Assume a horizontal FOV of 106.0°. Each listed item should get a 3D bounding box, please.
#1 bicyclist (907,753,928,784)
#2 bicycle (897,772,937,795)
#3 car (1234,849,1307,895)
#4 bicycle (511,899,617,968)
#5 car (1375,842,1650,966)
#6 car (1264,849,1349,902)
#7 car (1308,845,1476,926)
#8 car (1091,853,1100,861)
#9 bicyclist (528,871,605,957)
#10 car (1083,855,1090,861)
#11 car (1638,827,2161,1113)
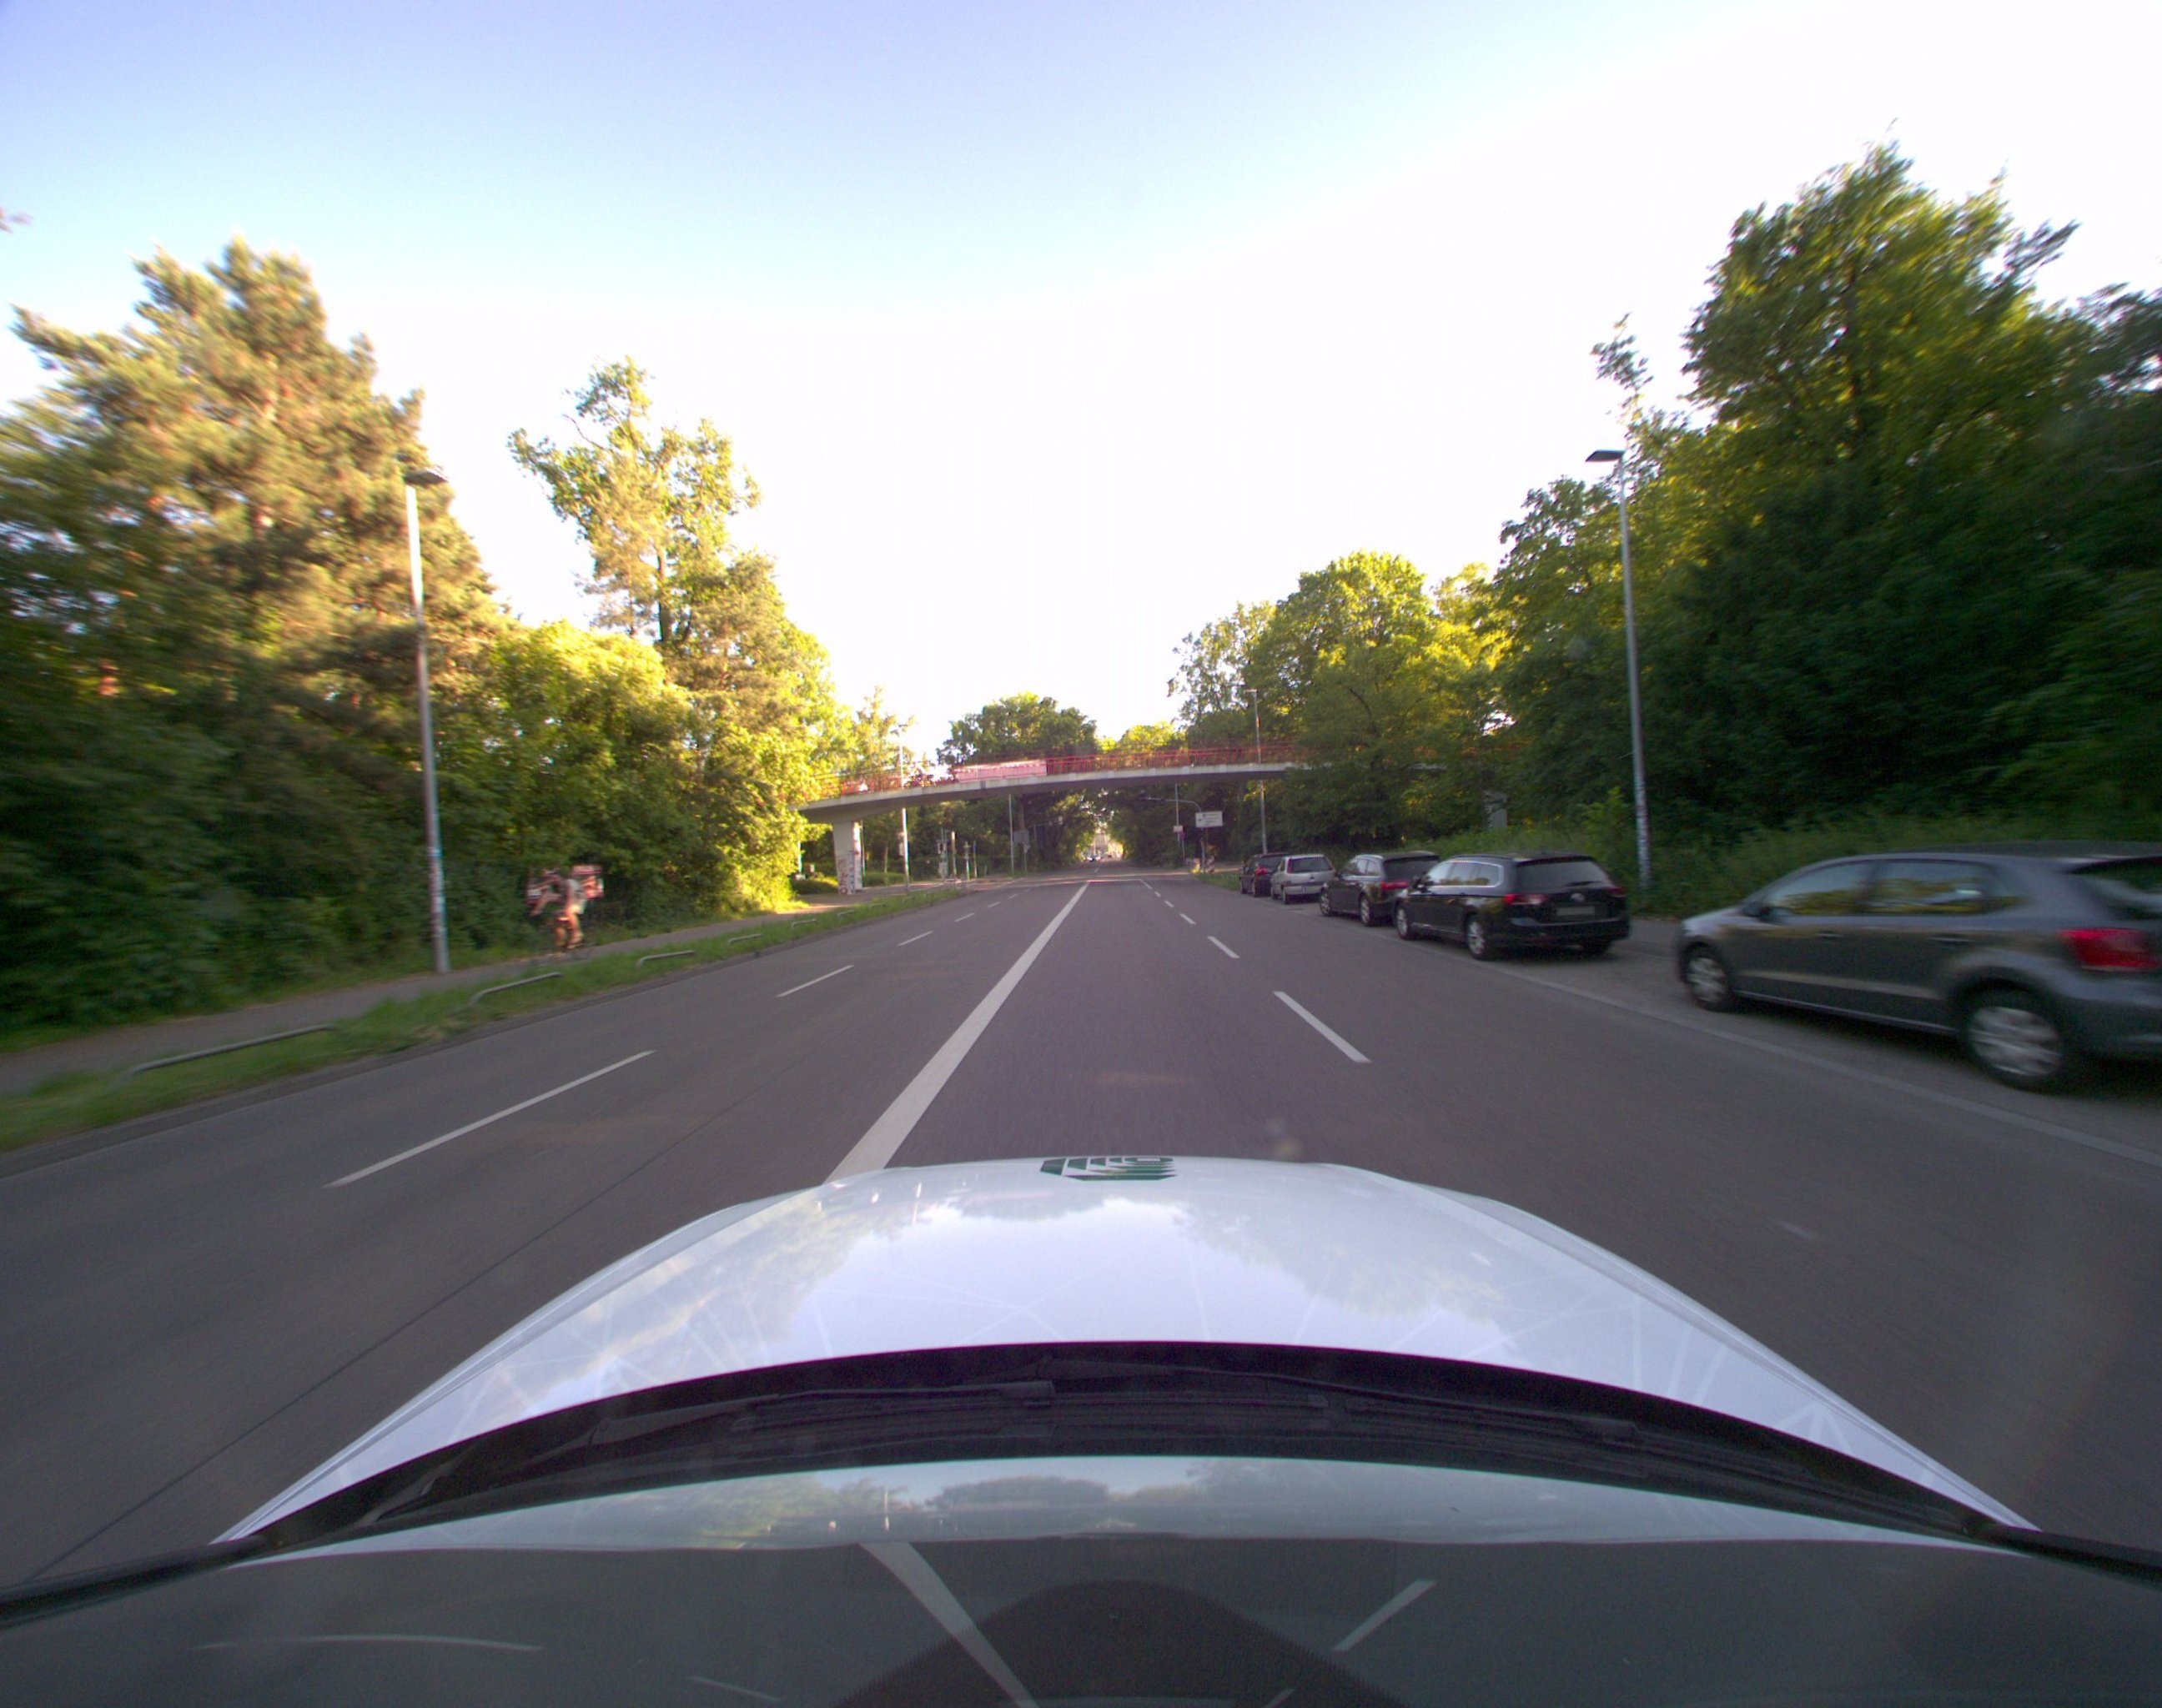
[{"bbox_3d":[-8.932,-4.661,44.432,0.967,1.586,0.714,-1,-1,0],"label":"bicyclist"},{"bbox_3d":[-8.923,-3.861,44.415,1.980,1.147,0.714,-1,-1,0],"label":"bicycle"},{"bbox_3d":[6.886,0.630,29.960,1.767,1.453,4.390,-3,-1,3],"label":"car"},{"bbox_3d":[-9.858,1.490,15.638,0.709,1.147,1.994,-1,-1,2],"label":"bicycle"},{"bbox_3d":[6.276,0.638,12.626,1.631,1.453,4.897,-3,0,0],"label":"car"},{"bbox_3d":[6.966,0.631,25.545,1.766,1.453,4.019,-3,-1,5],"label":"car"},{"bbox_3d":[6.632,0.621,18.057,1.768,1.453,5.038,-3,0,0],"label":"car"},{"bbox_3d":[3.318,0.683,181.317,1.881,1.506,4.365,-3,-1,1],"label":"car"},{"bbox_3d":[-9.867,1.122,15.653,0.709,1.559,1.143,-1,-1,1],"label":"bicyclist"},{"bbox_3d":[1.386,1.008,219.095,1.791,1.506,4.365,-3,-1,1],"label":"car"},{"bbox_3d":[6.389,0.604,6.256,1.579,1.453,3.945,-3,-1,3],"label":"car"}]
